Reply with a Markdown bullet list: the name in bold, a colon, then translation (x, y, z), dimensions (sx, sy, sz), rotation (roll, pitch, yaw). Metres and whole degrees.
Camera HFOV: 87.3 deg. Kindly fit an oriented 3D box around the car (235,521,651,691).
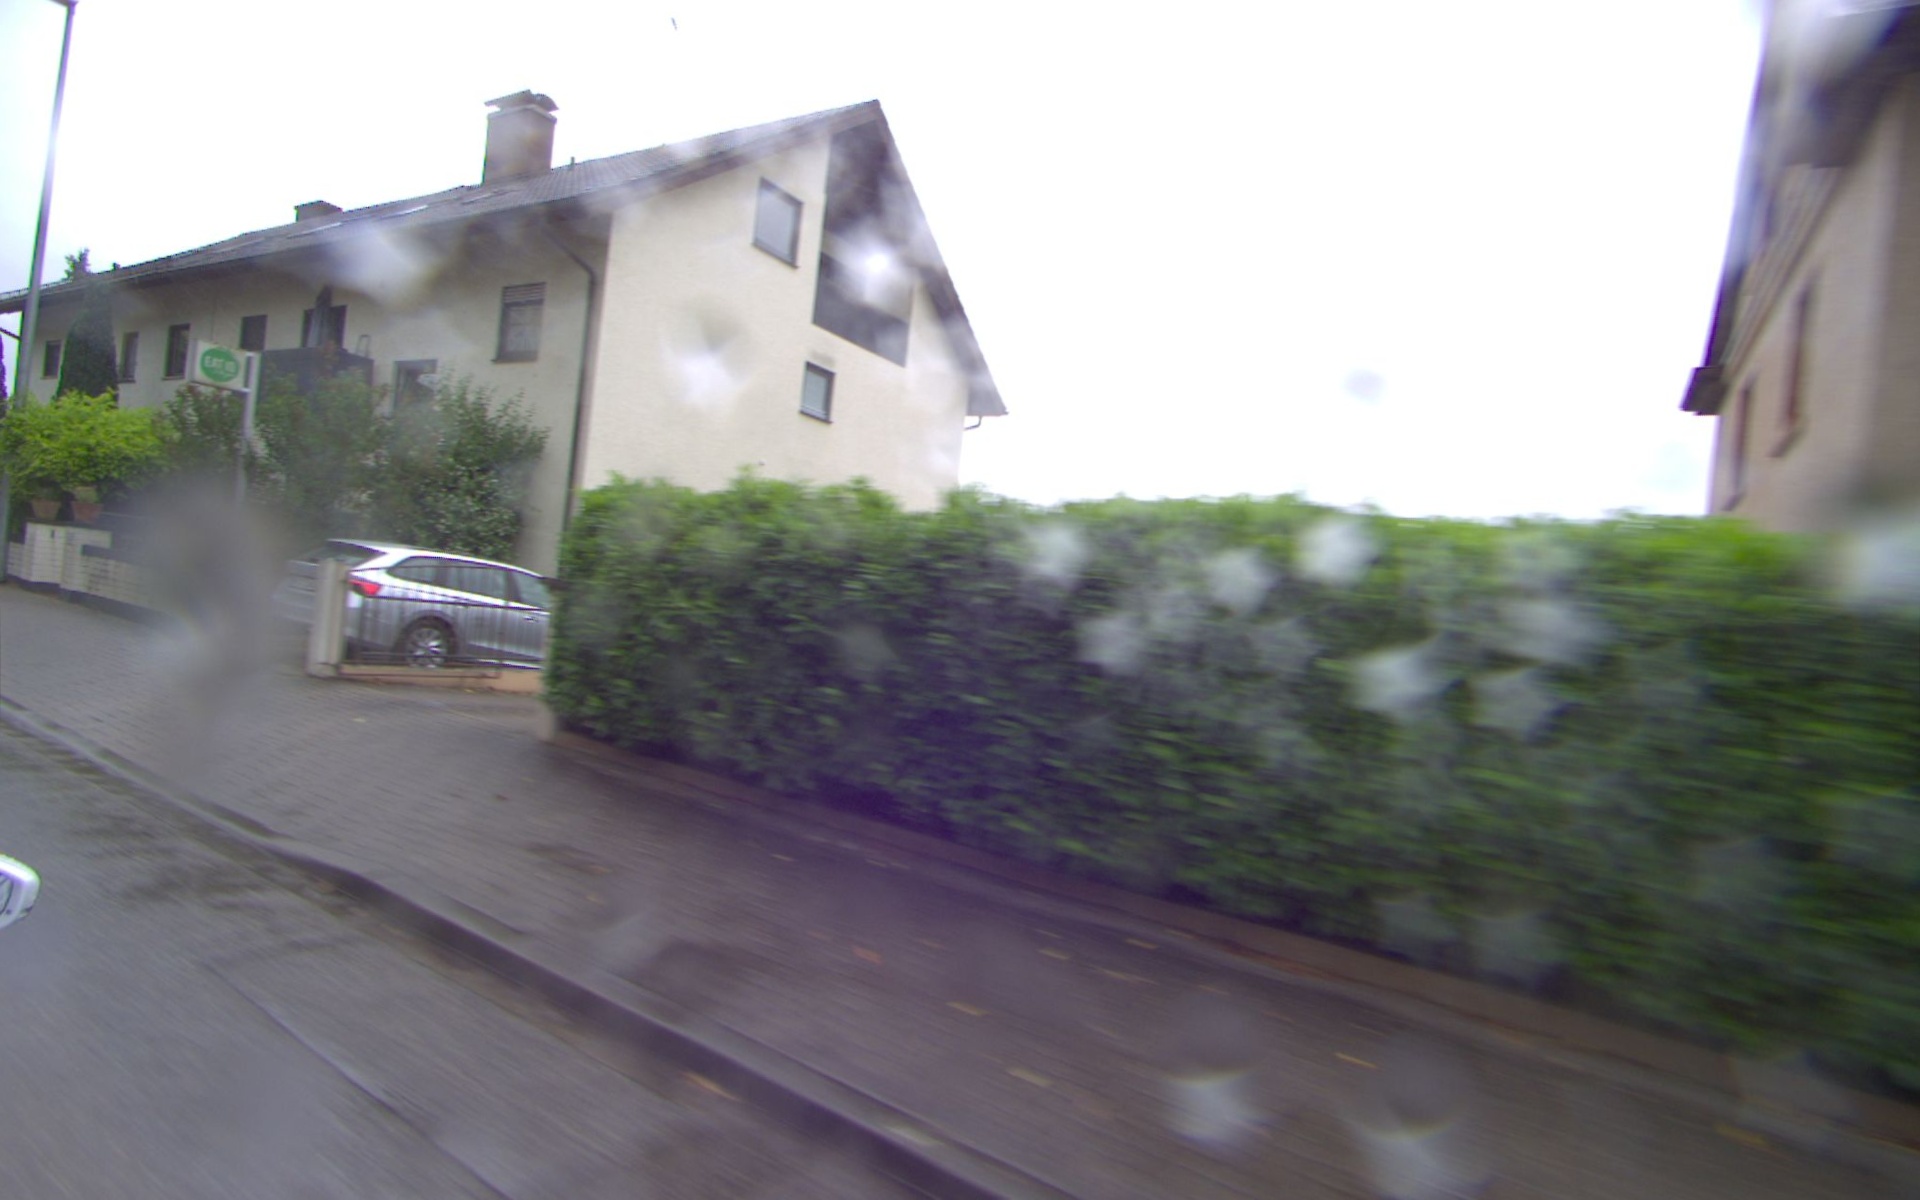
- **car**: translation (-6.144, 0.195, 12.513), dimensions (1.674, 1.462, 4.233), rotation (7, -3, 31)
